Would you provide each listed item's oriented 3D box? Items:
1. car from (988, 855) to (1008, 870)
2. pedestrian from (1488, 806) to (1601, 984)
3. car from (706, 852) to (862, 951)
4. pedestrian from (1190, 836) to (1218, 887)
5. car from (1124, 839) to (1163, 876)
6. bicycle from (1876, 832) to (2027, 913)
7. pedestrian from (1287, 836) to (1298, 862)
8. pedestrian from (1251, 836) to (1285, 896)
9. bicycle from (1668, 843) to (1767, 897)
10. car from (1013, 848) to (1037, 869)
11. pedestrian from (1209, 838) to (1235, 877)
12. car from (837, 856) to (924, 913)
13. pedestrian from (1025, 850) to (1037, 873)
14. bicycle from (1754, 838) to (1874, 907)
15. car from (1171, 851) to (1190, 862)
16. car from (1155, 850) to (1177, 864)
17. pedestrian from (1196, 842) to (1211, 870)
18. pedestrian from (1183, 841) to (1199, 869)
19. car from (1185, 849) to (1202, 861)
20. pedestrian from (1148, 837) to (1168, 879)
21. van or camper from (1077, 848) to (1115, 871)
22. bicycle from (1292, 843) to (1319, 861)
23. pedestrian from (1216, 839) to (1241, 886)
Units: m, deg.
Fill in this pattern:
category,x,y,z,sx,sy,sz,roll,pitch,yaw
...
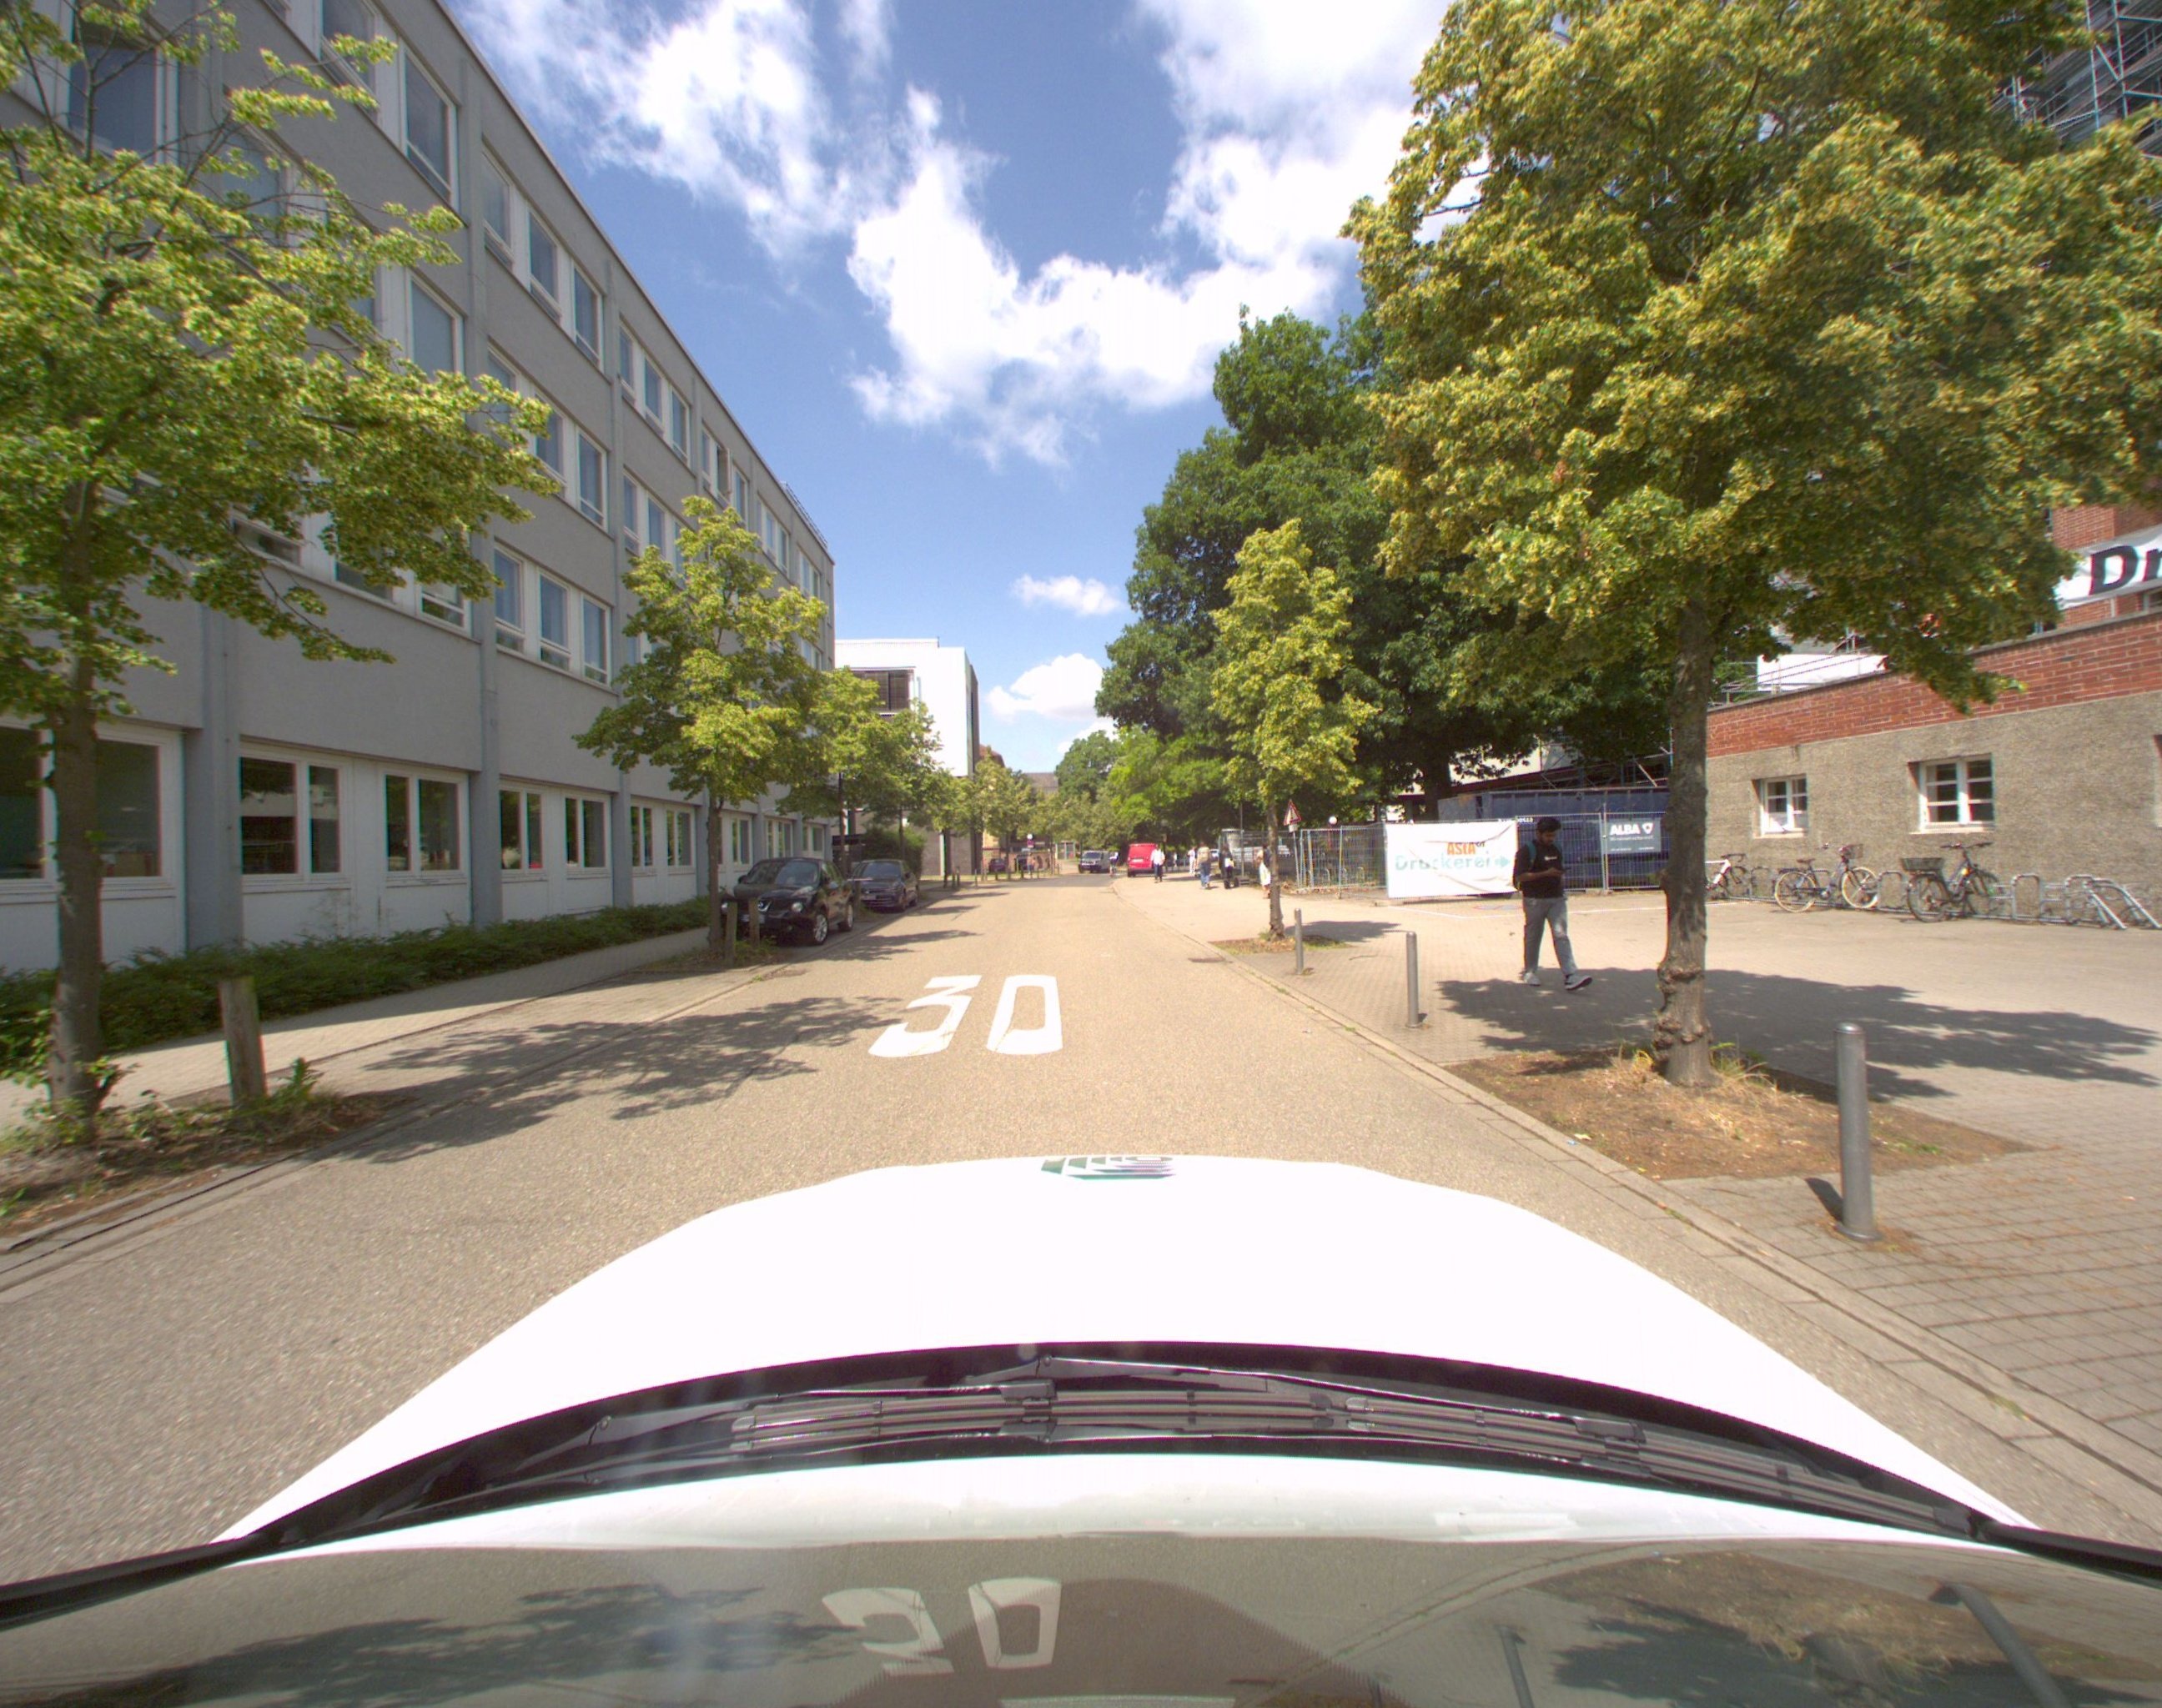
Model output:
category,x,y,z,sx,sy,sz,roll,pitch,yaw
car,-8.059,0.823,79.522,1.814,1.324,3.762,-2,0,-4
pedestrian,4.675,0.395,8.262,0.639,1.697,0.792,-2,0,1
car,-5.420,0.777,15.421,1.694,1.564,4.061,-2,0,-5
pedestrian,4.409,0.270,29.226,0.846,1.764,0.716,-3,0,4
car,3.524,0.176,45.325,1.838,1.891,4.900,-3,0,7
bicycle,12.816,0.264,12.001,1.802,1.109,0.447,-2,0,-3
pedestrian,15.207,-0.381,58.502,0.541,1.837,0.762,-2,0,4
pedestrian,5.413,0.337,23.612,0.648,1.666,0.903,-3,0,-6
bicycle,12.822,0.322,16.417,1.667,1.003,0.447,-2,0,-3
car,-5.501,0.447,79.717,2.171,1.926,5.177,-2,0,-5
pedestrian,5.959,0.147,34.443,0.716,1.631,0.705,-2,-1,-27
car,-5.725,0.820,23.713,1.775,1.461,4.252,-1,0,-5
pedestrian,-3.857,0.569,62.343,0.579,1.764,0.915,-2,0,14
bicycle,12.641,0.315,14.050,1.697,1.109,0.447,-2,0,-3
car,12.793,0.285,104.436,1.603,1.387,4.019,-2,0,18
car,10.165,0.325,97.221,1.746,1.522,4.130,-2,0,18
pedestrian,7.803,0.121,51.811,0.749,1.710,0.557,-2,-1,-39
pedestrian,7.117,0.071,52.657,0.727,1.821,0.623,-2,-1,-39
car,15.552,0.123,112.717,1.603,1.679,4.019,-2,0,18
pedestrian,3.308,0.171,35.004,0.690,1.781,0.789,-3,0,9
van or camper,1.391,0.431,71.876,1.938,1.923,5.444,-1,0,17
bicycle,13.434,-0.100,48.741,0.515,0.957,1.795,-3,-1,-22
pedestrian,5.250,0.297,29.101,0.666,1.600,0.985,-3,0,1
